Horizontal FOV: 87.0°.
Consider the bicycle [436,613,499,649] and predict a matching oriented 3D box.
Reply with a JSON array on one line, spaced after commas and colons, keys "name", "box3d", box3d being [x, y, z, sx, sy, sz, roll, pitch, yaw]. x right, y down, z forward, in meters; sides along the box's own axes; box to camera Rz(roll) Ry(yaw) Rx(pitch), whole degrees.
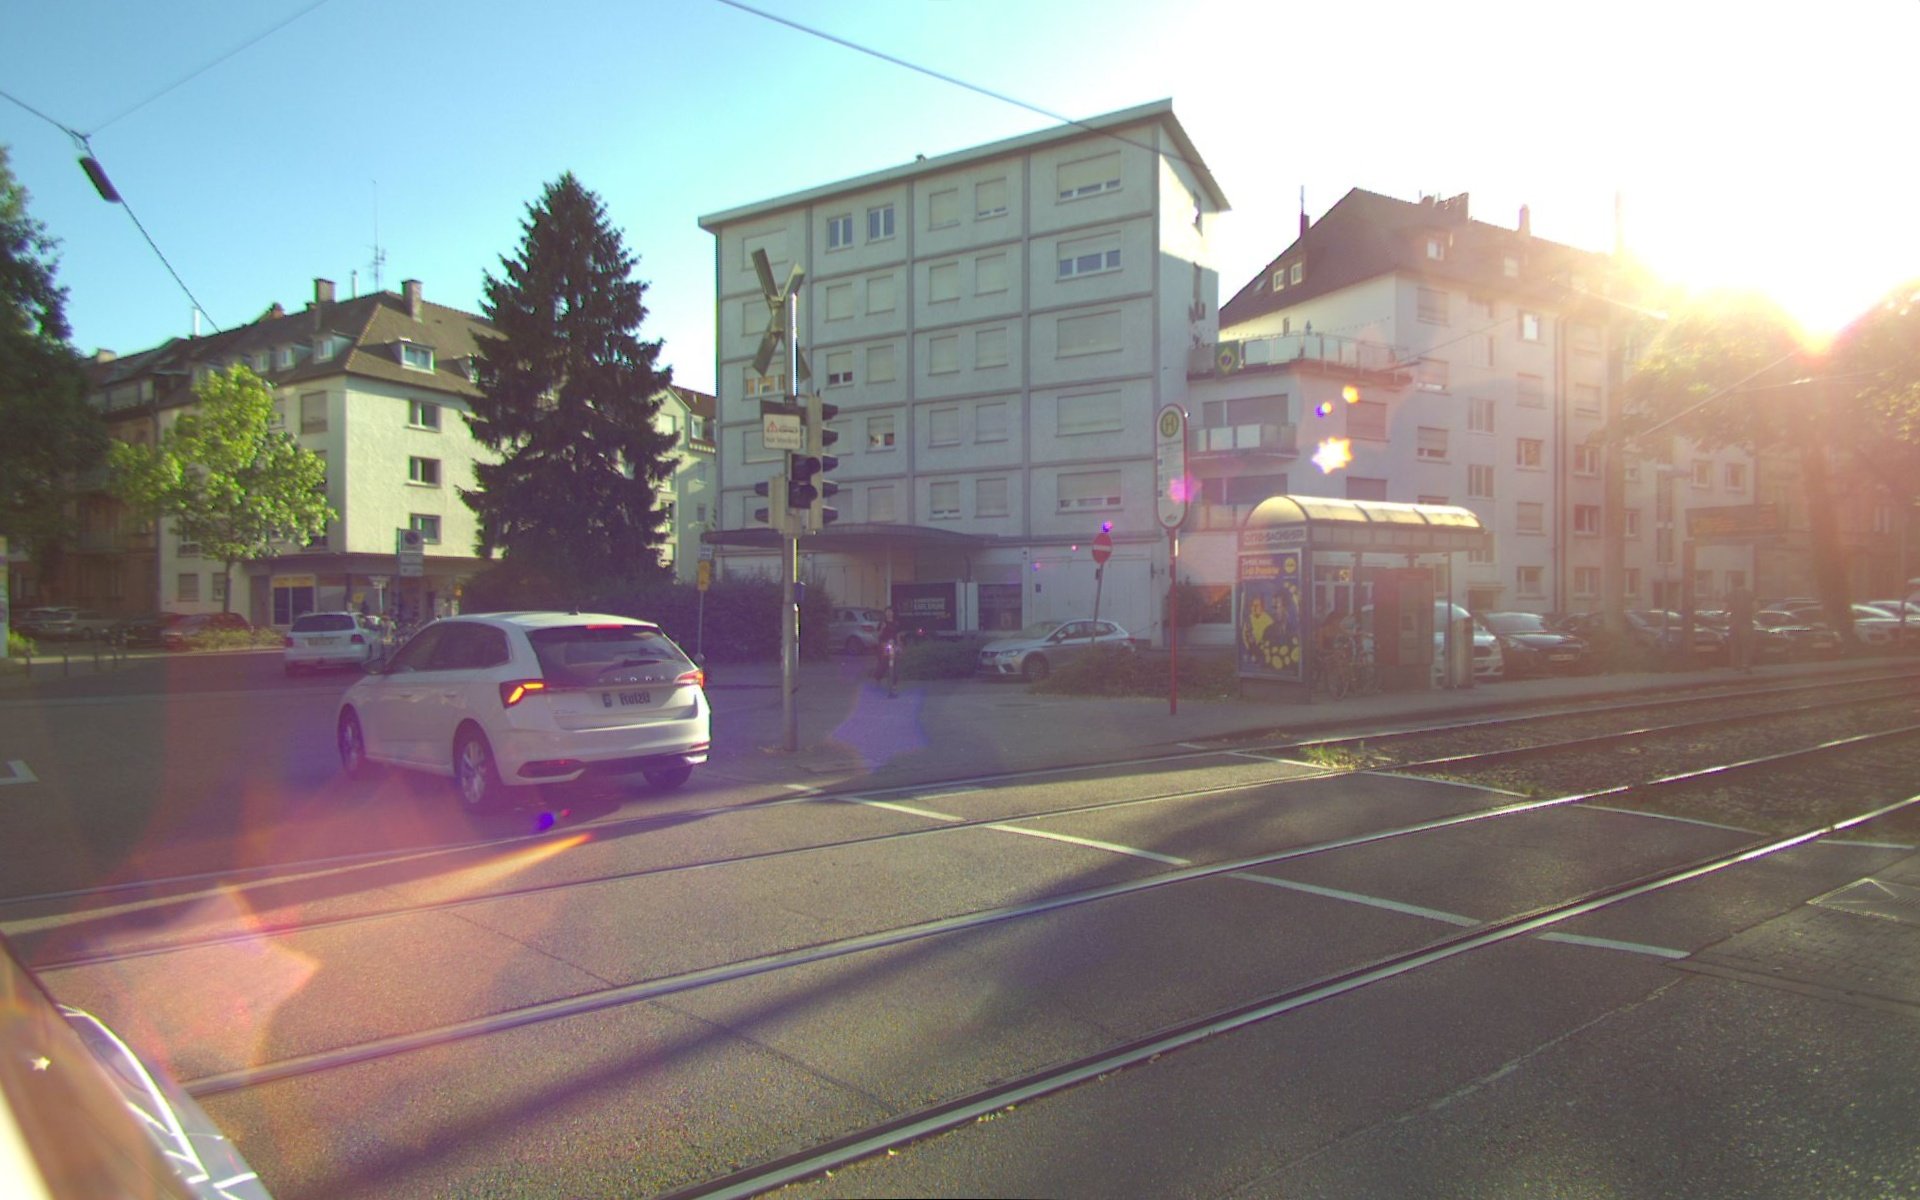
[{"name": "bicycle", "box3d": [-22.348, 1.381, 45.880, 3.369, 1.456, 0.872, 1, 0, 32]}]

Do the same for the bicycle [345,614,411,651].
[{"name": "bicycle", "box3d": [-24.023, 1.327, 41.752, 3.368, 1.456, 0.872, 0, 0, 32]}]

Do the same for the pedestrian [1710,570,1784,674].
[{"name": "pedestrian", "box3d": [15.109, 0.413, 19.441, 0.823, 1.925, 0.853, 0, -1, -32]}]

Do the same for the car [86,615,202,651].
[{"name": "car", "box3d": [-38.187, 1.500, 47.485, 1.855, 1.580, 3.982, -1, -1, 14]}]

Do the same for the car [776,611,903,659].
[{"name": "car", "box3d": [-4.130, 1.163, 34.494, 3.987, 1.544, 1.978, -1, -1, 33]}]

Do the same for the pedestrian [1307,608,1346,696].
[{"name": "pedestrian", "box3d": [5.590, 0.780, 15.452, 0.444, 1.311, 0.339, 0, -1, -30]}]

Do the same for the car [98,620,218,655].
[{"name": "car", "box3d": [-35.739, 1.644, 45.235, 1.854, 1.410, 3.985, -1, -1, 12]}]

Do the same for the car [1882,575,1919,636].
[{"name": "car", "box3d": [48.688, 0.235, 50.021, 5.386, 2.909, 2.569, -1, -2, -24]}]

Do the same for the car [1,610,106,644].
[{"name": "car", "box3d": [-46.289, 1.364, 51.810, 1.847, 1.648, 4.000, -1, -1, 0]}]

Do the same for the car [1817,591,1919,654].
[{"name": "car", "box3d": [28.916, 0.707, 31.125, 1.837, 1.762, 4.229, -3, -4, 9]}]

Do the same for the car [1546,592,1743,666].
[{"name": "car", "box3d": [16.288, 0.772, 24.386, 1.584, 1.519, 4.243, -2, -4, -3]}]

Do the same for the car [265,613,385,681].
[{"name": "car", "box3d": [-15.448, 1.087, 24.832, 1.890, 1.461, 4.310, -1, 0, -24]}]

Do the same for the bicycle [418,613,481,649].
[{"name": "bicycle", "box3d": [-22.847, 1.373, 45.268, 3.369, 1.456, 0.872, 1, 0, 32]}]

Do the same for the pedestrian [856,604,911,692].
[{"name": "pedestrian", "box3d": [-1.574, 0.960, 20.759, 0.856, 1.749, 0.833, 0, 0, -28]}]

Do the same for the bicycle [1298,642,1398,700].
[{"name": "bicycle", "box3d": [5.790, 1.040, 15.090, 1.615, 0.789, 0.452, 0, -1, -29]}]

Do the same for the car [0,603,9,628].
[{"name": "car", "box3d": [-56.340, 0.880, 57.020, 1.847, 1.410, 4.000, -1, -1, 0]}]

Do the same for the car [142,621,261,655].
[{"name": "car", "box3d": [-33.359, 1.643, 44.636, 1.854, 1.410, 3.985, -1, -1, 12]}]

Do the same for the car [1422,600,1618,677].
[{"name": "car", "box3d": [11.910, 0.907, 21.900, 1.676, 1.448, 4.207, -2, -4, -2]}]

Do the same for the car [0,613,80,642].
[{"name": "car", "box3d": [-48.830, 1.428, 53.131, 1.847, 1.410, 4.000, -1, -1, 0]}]

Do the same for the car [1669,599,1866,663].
[{"name": "car", "box3d": [21.432, 0.887, 27.122, 1.584, 1.470, 4.243, -2, -4, -3]}]

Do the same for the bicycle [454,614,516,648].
[{"name": "bicycle", "box3d": [-21.878, 1.410, 46.597, 3.369, 1.456, 0.872, 1, 0, 32]}]

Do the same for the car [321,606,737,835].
[{"name": "car", "box3d": [-3.785, 0.821, 8.523, 4.061, 1.468, 1.684, -2, -1, 42]}]

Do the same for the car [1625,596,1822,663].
[{"name": "car", "box3d": [19.379, 0.827, 25.966, 1.584, 1.470, 4.243, -2, -4, -3]}]

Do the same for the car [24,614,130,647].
[{"name": "car", "box3d": [-43.598, 1.465, 50.090, 1.847, 1.516, 4.000, -1, -1, 0]}]

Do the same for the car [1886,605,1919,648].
[{"name": "car", "box3d": [34.486, 0.808, 34.486, 1.832, 1.484, 4.239, -2, -4, 1]}]

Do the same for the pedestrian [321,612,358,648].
[{"name": "pedestrian", "box3d": [-29.388, 1.398, 47.931, 0.960, 1.679, 1.203, -1, -1, 29]}]

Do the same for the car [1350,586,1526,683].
[{"name": "car", "box3d": [9.301, 0.762, 20.109, 1.587, 1.665, 4.236, -2, -4, 3]}]

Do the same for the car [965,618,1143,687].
[{"name": "car", "box3d": [2.245, 1.184, 23.953, 3.932, 1.457, 1.721, 0, -1, -32]}]

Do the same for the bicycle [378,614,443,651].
[{"name": "bicycle", "box3d": [-23.300, 1.355, 42.868, 3.368, 1.456, 0.872, 0, 0, 32]}]

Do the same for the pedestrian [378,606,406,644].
[{"name": "pedestrian", "box3d": [-28.052, 1.234, 49.957, 0.848, 1.889, 0.882, -1, -1, 29]}]

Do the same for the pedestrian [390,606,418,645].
[{"name": "pedestrian", "box3d": [-27.279, 1.250, 49.653, 0.848, 1.889, 0.882, -1, -1, 29]}]

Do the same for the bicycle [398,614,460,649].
[{"name": "bicycle", "box3d": [-23.372, 1.368, 44.520, 3.368, 1.456, 0.872, 0, 0, 32]}]

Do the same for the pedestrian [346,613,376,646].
[{"name": "pedestrian", "box3d": [-29.134, 1.419, 49.200, 0.887, 1.581, 0.954, -1, -1, 30]}]

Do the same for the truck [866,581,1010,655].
[{"name": "truck", "box3d": [-0.834, 0.660, 37.118, 4.951, 2.554, 1.980, -1, -1, 29]}]

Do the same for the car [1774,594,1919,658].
[{"name": "car", "box3d": [26.679, 0.824, 30.103, 1.837, 1.664, 4.229, -3, -4, 9]}]
